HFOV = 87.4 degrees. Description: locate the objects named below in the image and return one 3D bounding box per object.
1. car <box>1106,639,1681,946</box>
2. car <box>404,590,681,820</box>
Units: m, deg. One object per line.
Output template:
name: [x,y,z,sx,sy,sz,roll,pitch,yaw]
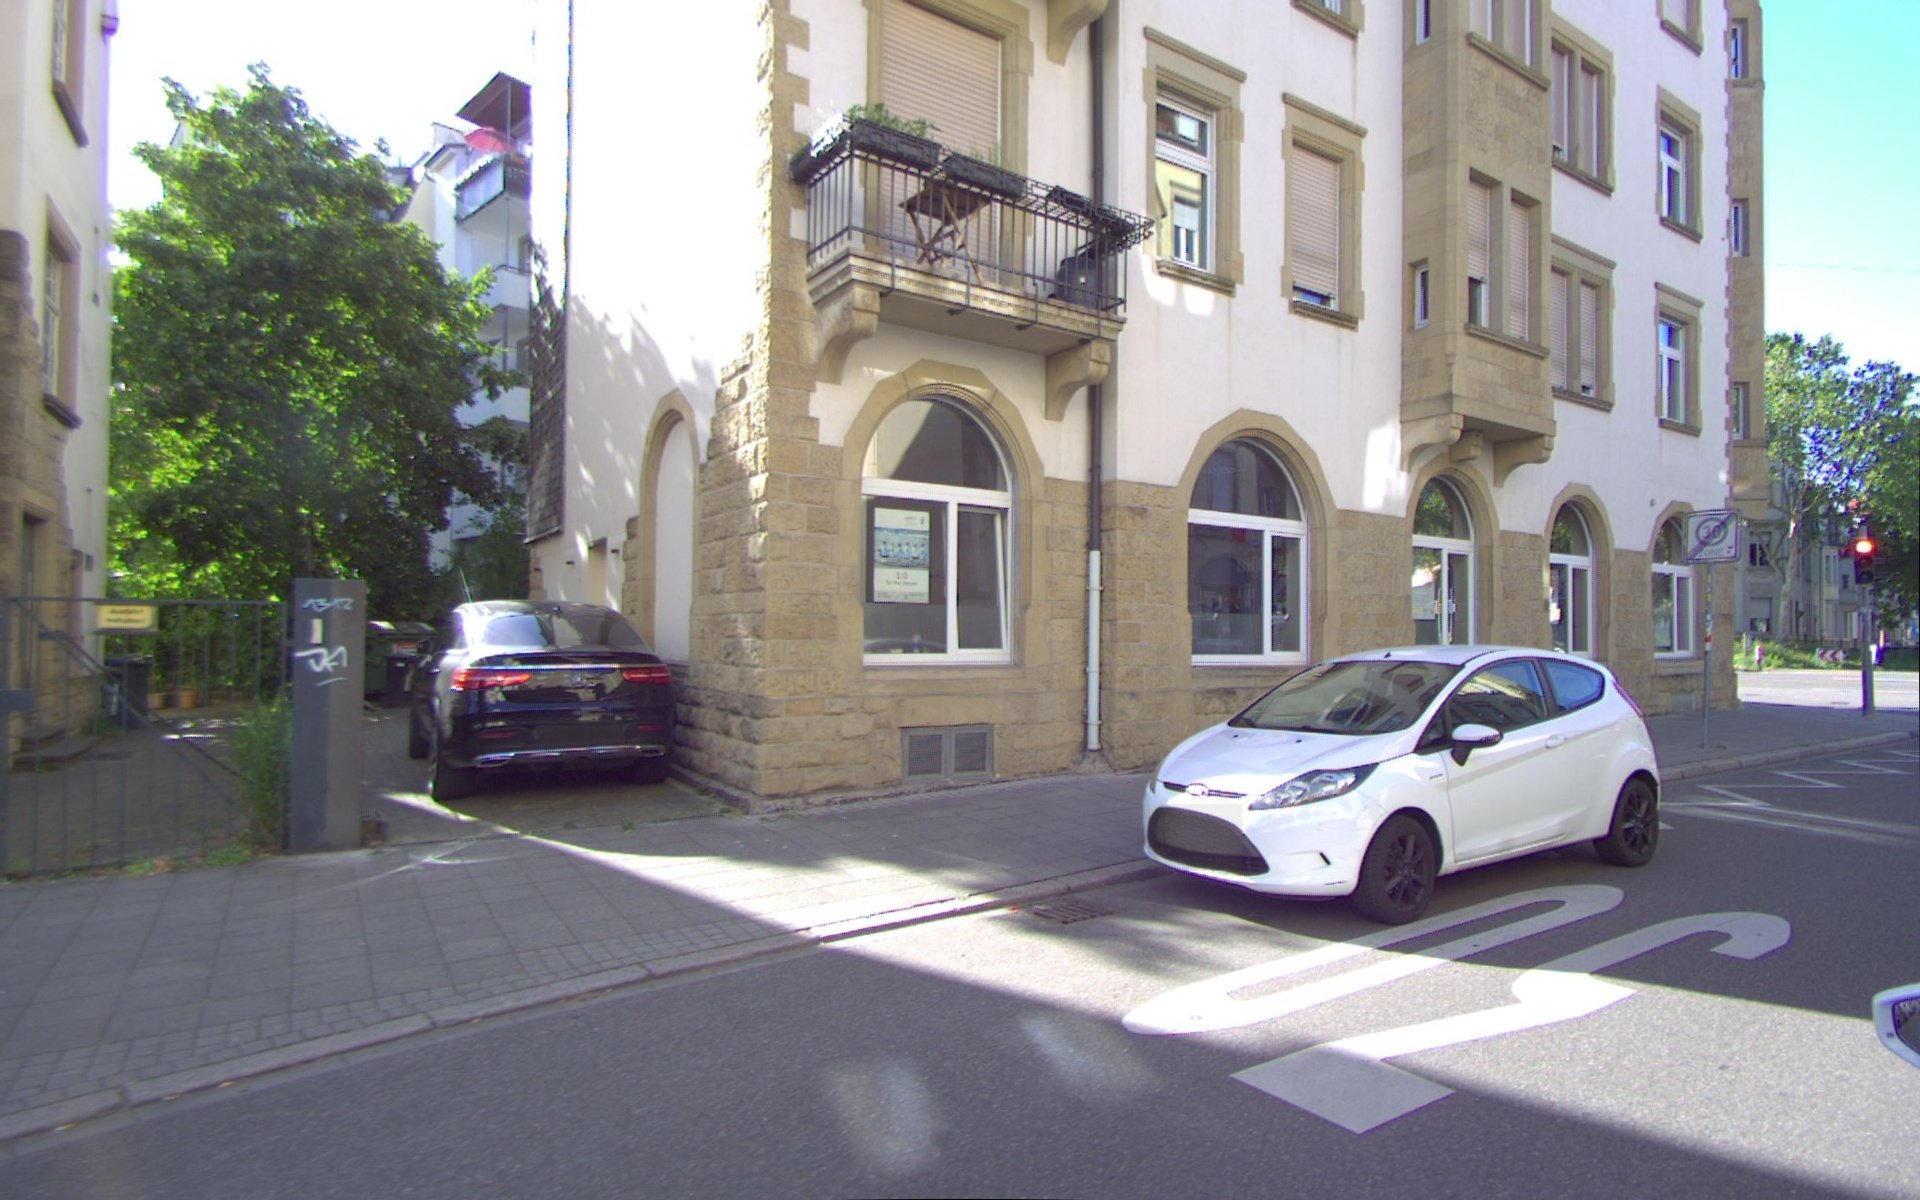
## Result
car: [2.910,1.006,6.584,3.691,1.483,1.626,1,-2,-31]
car: [-4.242,0.867,9.824,1.888,1.750,3.947,1,-2,-32]
